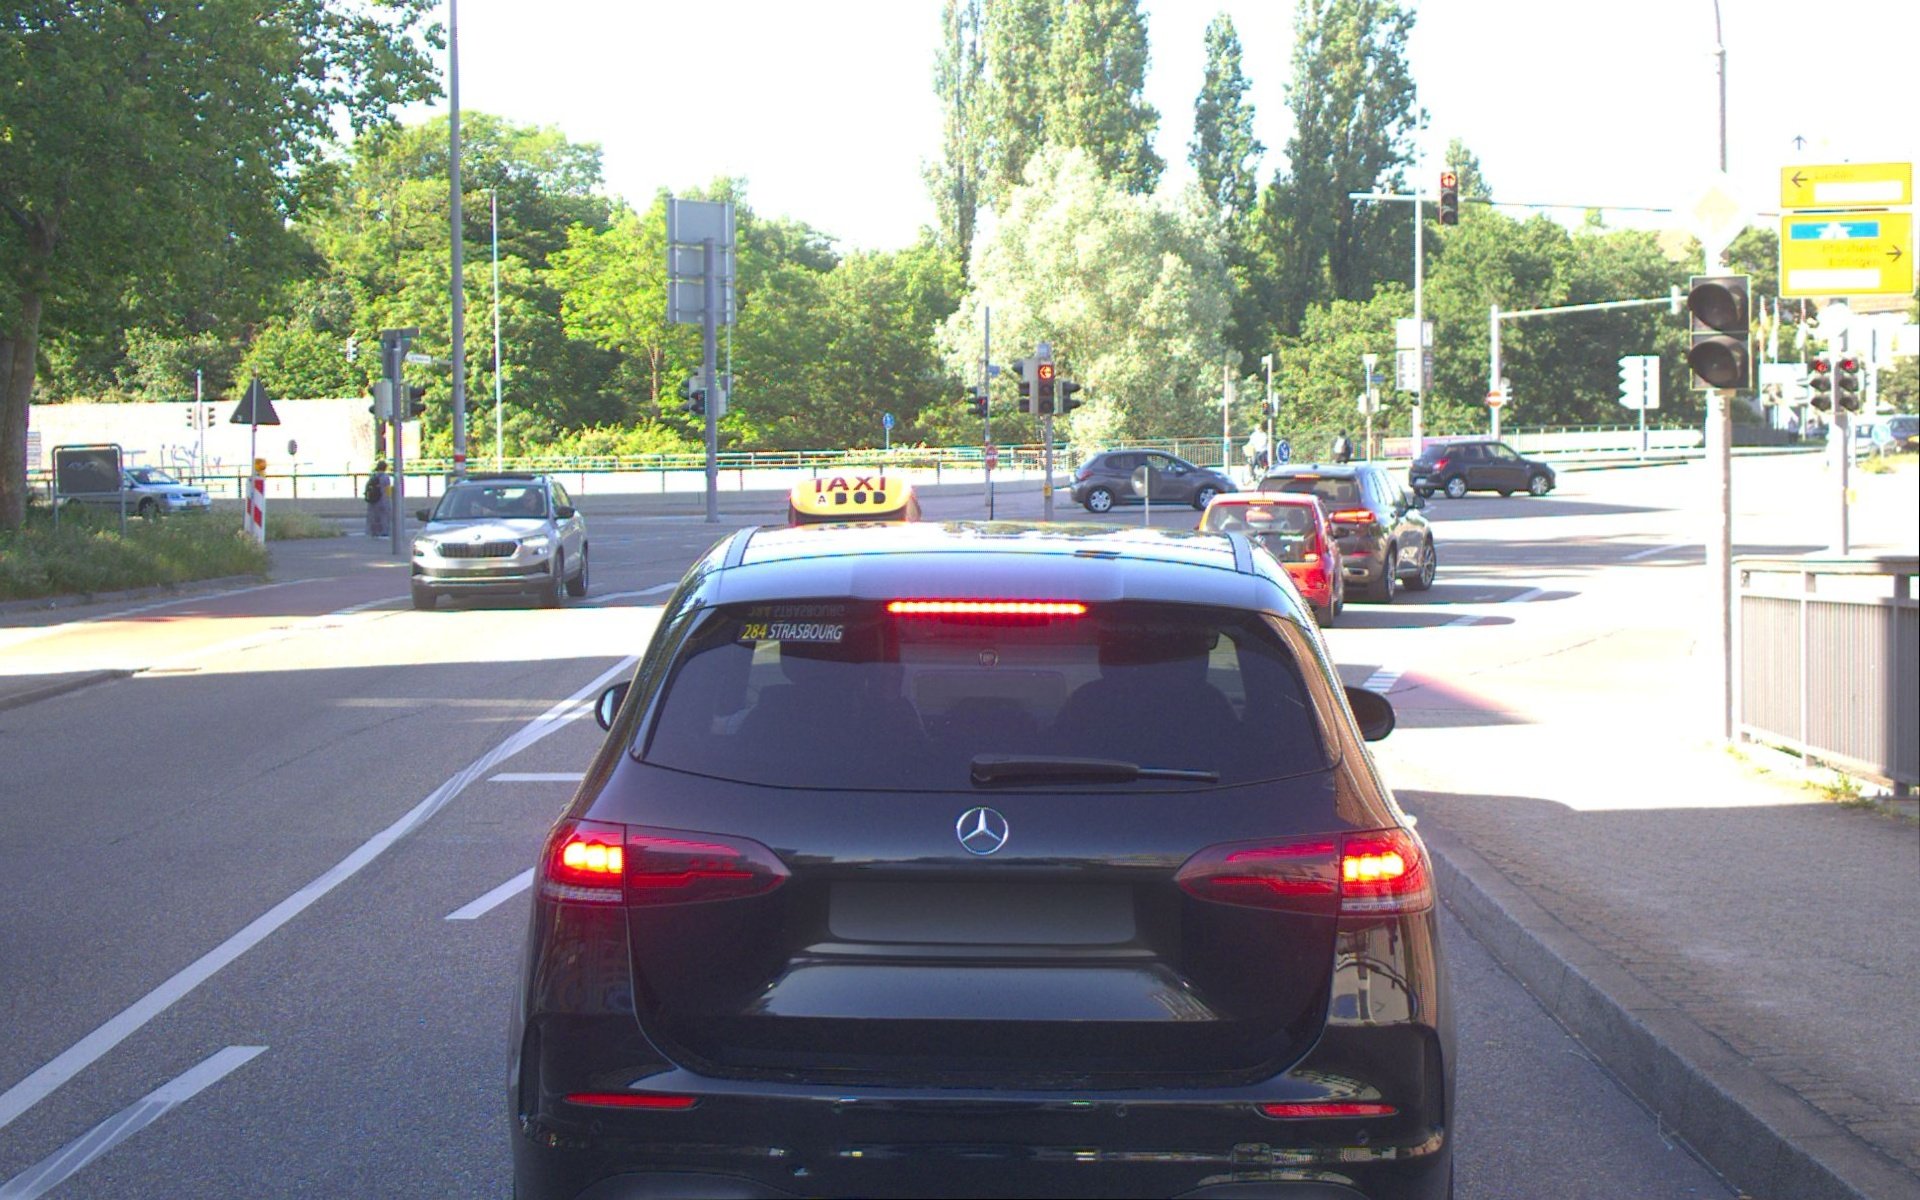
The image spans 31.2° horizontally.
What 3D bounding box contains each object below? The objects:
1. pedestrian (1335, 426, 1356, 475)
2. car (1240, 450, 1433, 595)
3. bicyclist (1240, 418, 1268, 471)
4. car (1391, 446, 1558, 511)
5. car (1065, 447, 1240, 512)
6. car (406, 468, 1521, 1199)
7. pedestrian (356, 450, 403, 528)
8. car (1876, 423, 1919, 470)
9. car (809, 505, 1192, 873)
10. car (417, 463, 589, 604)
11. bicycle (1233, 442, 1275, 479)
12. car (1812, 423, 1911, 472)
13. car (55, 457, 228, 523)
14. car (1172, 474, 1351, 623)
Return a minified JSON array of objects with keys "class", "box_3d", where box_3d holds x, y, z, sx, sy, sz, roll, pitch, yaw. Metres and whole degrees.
[{"class":"pedestrian","box_3d":[12.496,-4.848,111.417,0.451,1.580,0.500,1,3,40]},{"class":"car","box_3d":[4.986,-1.022,45.063,1.723,1.806,4.294,0,2,17]},{"class":"bicyclist","box_3d":[8.628,-4.561,100.726,0.526,1.545,0.806,-1,2,26]},{"class":"car","box_3d":[13.249,-3.108,88.446,3.987,1.542,1.891,0,1,-33]},{"class":"car","box_3d":[4.508,-2.823,80.884,3.987,1.492,1.745,0,1,0]},{"class":"car","box_3d":[-0.020,0.538,7.843,1.878,1.608,4.000,1,2,-1]},{"class":"pedestrian","box_3d":[-11.473,-2.202,67.991,0.705,1.520,0.743,1,2,10]},{"class":"car","box_3d":[33.564,-5.368,119.819,1.882,1.573,3.992,1,3,36]},{"class":"car","box_3d":[0.227,0.344,16.728,1.640,1.524,3.474,-1,2,2]},{"class":"car","box_3d":[-5.734,-0.879,43.546,1.804,1.617,4.001,-1,3,-3]},{"class":"bicycle","box_3d":[8.630,-4.081,100.756,0.526,1.046,1.987,-1,3,26]},{"class":"car","box_3d":[30.073,-5.103,114.665,1.882,1.573,3.992,1,3,36]},{"class":"car","box_3d":[-20.669,-2.787,86.852,3.993,1.624,1.888,1,2,29]},{"class":"car","box_3d":[3.498,-0.633,39.454,1.722,1.516,3.485,0,4,10]}]
